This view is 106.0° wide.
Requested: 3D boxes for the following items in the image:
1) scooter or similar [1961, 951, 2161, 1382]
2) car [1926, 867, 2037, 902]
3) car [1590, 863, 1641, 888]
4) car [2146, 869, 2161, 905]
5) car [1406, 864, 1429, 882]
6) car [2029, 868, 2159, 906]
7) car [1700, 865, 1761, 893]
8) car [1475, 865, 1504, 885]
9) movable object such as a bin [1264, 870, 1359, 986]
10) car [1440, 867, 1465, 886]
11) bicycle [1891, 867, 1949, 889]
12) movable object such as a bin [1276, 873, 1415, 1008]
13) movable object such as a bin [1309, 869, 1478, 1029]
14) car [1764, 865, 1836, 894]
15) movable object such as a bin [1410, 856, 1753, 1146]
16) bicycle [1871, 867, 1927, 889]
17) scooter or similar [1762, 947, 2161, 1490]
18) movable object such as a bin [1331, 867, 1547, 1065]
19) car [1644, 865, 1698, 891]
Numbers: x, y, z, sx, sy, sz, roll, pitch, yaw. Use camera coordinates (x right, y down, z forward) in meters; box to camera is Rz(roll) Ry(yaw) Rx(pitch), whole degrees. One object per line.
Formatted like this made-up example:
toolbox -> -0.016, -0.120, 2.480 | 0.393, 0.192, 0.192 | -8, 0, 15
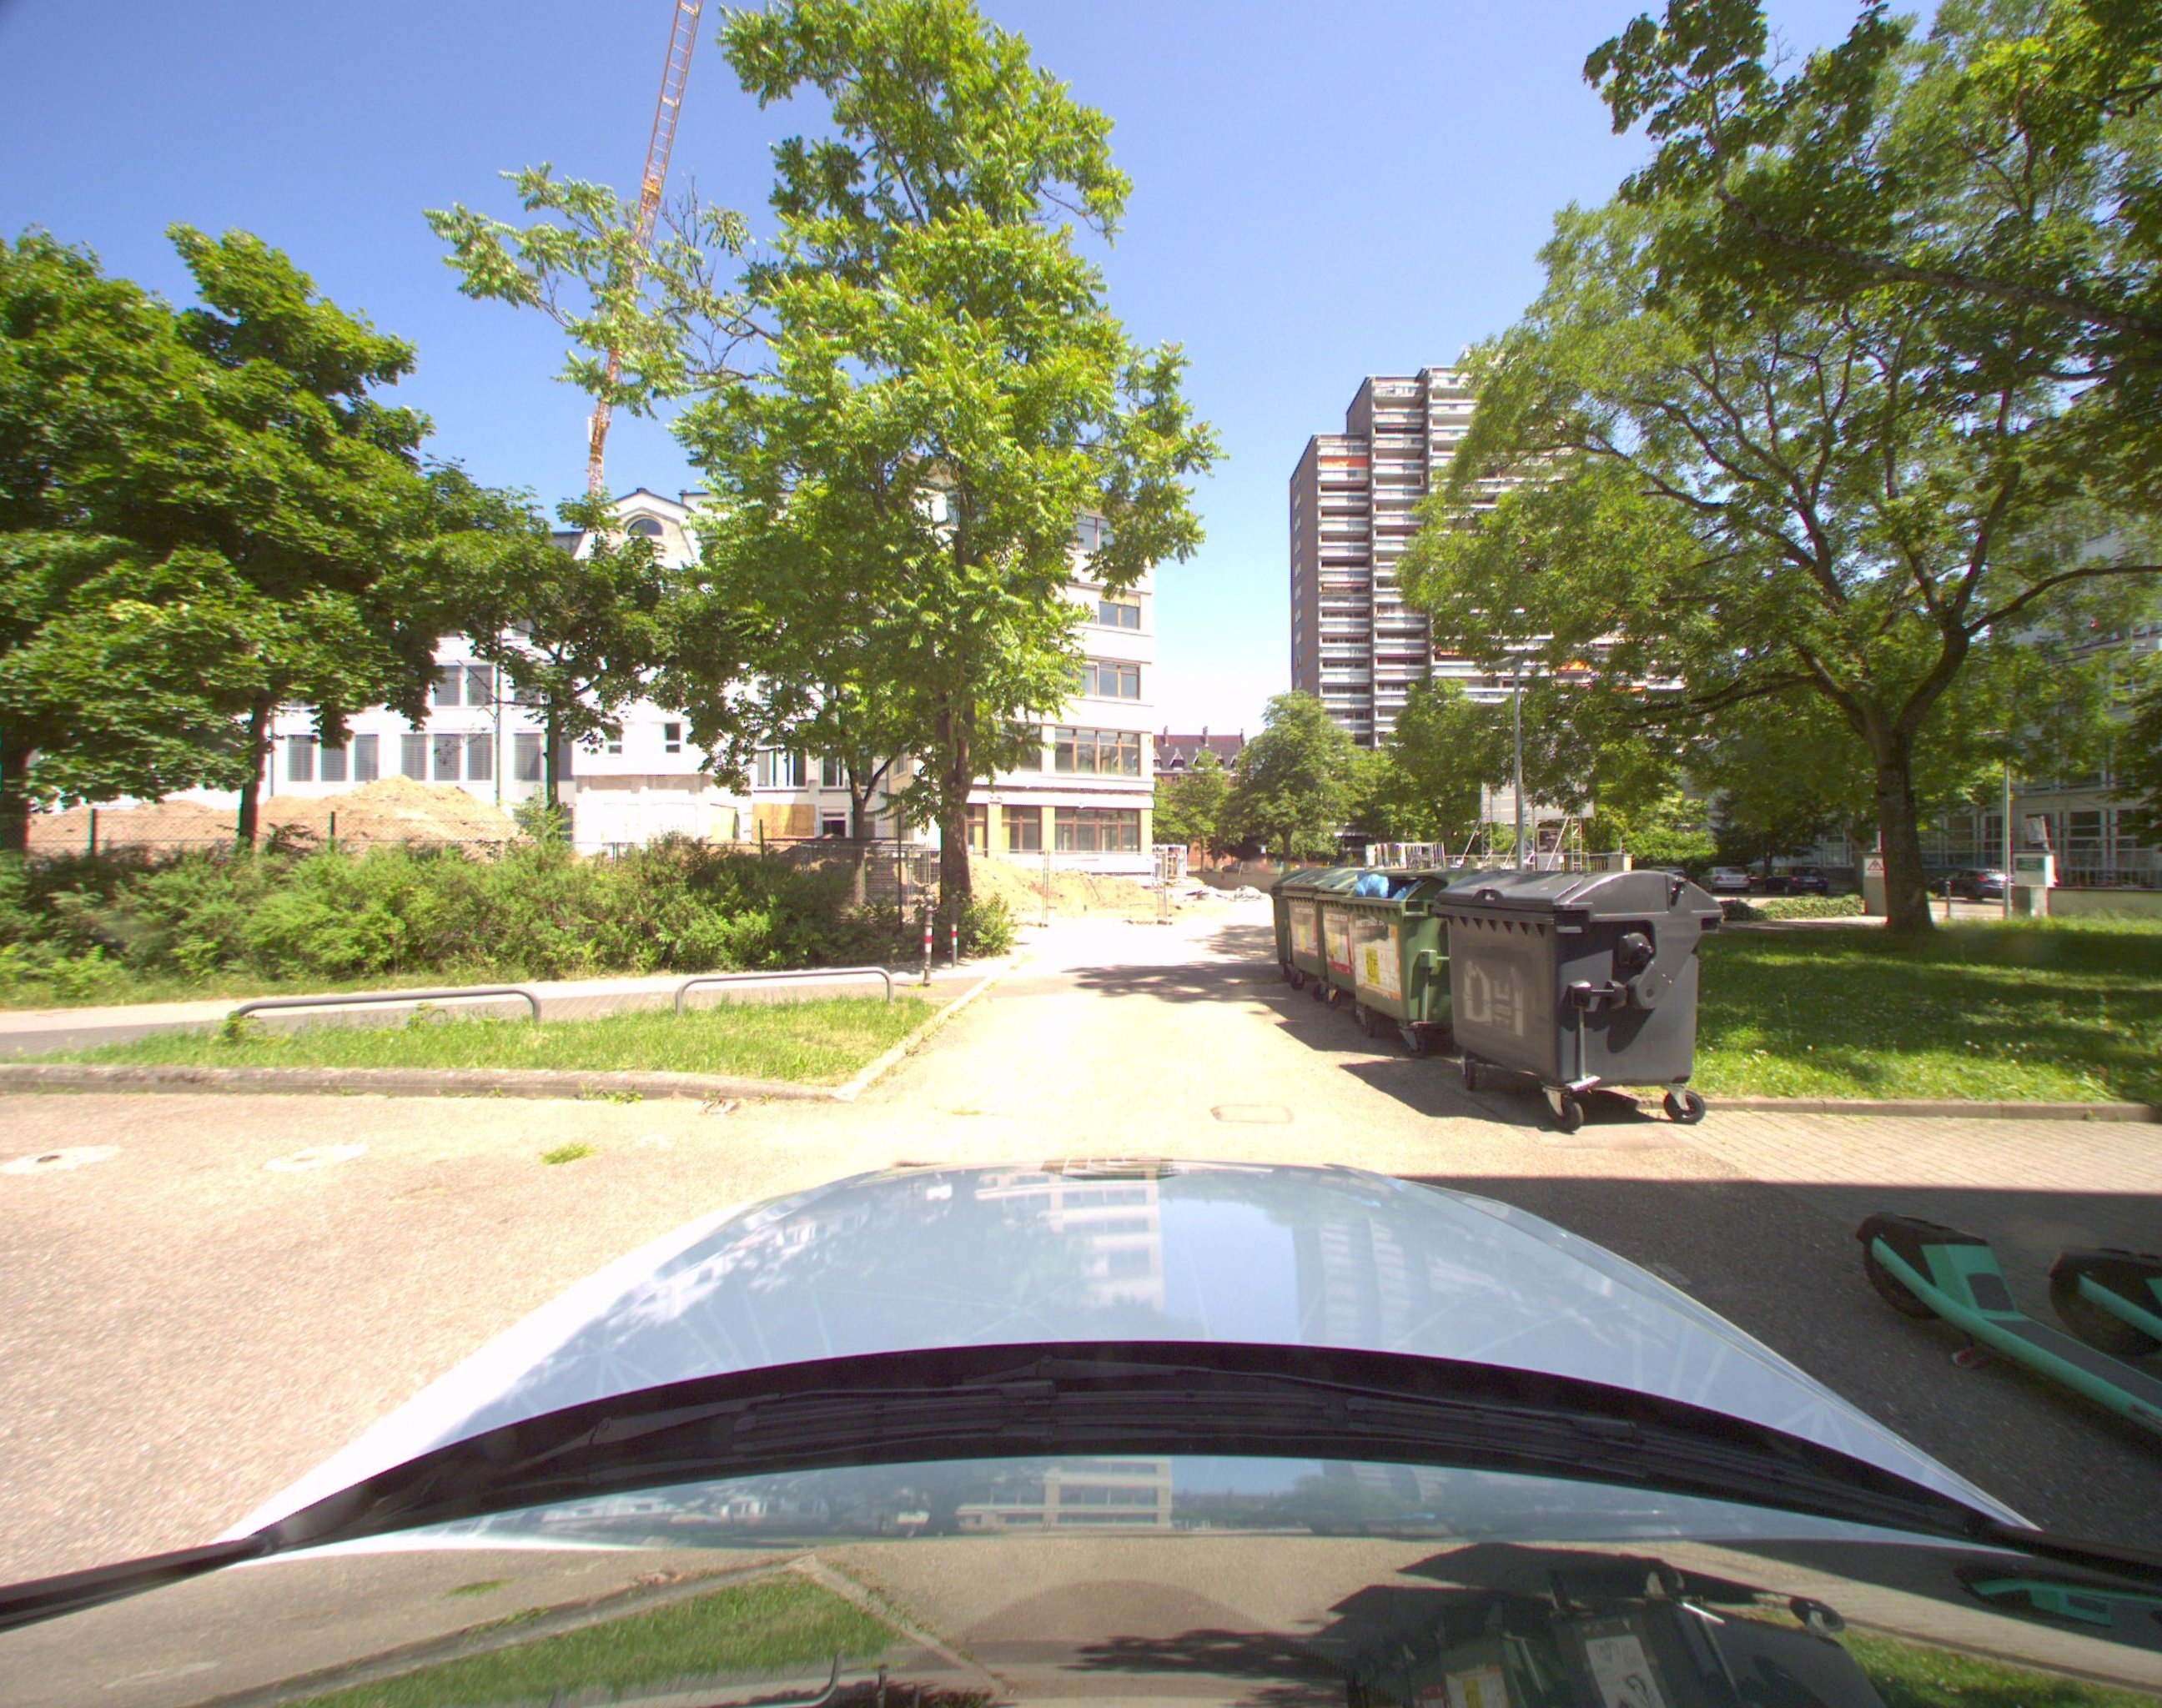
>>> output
scooter or similar -> 3.362, 0.919, 2.203 | 0.464, 1.174, 1.250 | 0, -1, -14
car -> 40.035, 1.308, 36.334 | 1.627, 1.464, 3.693 | 0, -1, 16
car -> 32.416, 1.267, 49.497 | 1.620, 1.464, 3.694 | 0, -1, 17
car -> 42.701, 1.269, 30.622 | 1.593, 1.437, 3.622 | -1, -1, 23
car -> 26.643, 1.458, 64.455 | 1.619, 1.387, 3.697 | -1, -1, 23
car -> 41.232, 1.304, 33.271 | 1.594, 1.445, 3.695 | 0, -1, 19
car -> 35.757, 1.358, 44.926 | 1.619, 1.464, 3.697 | -1, -1, 21
car -> 29.145, 1.513, 58.180 | 1.619, 1.387, 3.697 | -1, -1, 23
movable object such as a bin -> 3.121, 0.964, 11.142 | 1.170, 1.470, 1.338 | 0, -2, 14
car -> 27.944, 1.685, 61.337 | 1.619, 1.387, 3.697 | -1, -1, 23
bicycle -> 44.703, 1.295, 43.392 | 2.371, 1.158, 0.782 | 0, -1, -3
movable object such as a bin -> 3.062, 0.964, 9.602 | 1.176, 1.470, 1.310 | 0, -2, -3
movable object such as a bin -> 3.065, 0.891, 8.161 | 1.175, 1.470, 1.311 | 0, -2, -1
car -> 37.155, 1.297, 42.172 | 1.619, 1.464, 3.697 | -1, -1, 21
movable object such as a bin -> 2.958, 0.785, 5.044 | 1.153, 1.505, 1.459 | 0, -2, -6
bicycle -> 44.645, 1.297, 44.457 | 2.371, 1.158, 0.782 | 0, -1, -3
scooter or similar -> 2.745, 0.917, 2.269 | 0.463, 1.174, 1.354 | 0, -1, -6
movable object such as a bin -> 2.895, 0.854, 6.781 | 1.176, 1.470, 1.310 | 0, -2, -4
car -> 34.218, 1.378, 47.324 | 1.619, 1.464, 3.697 | -1, -1, 21
